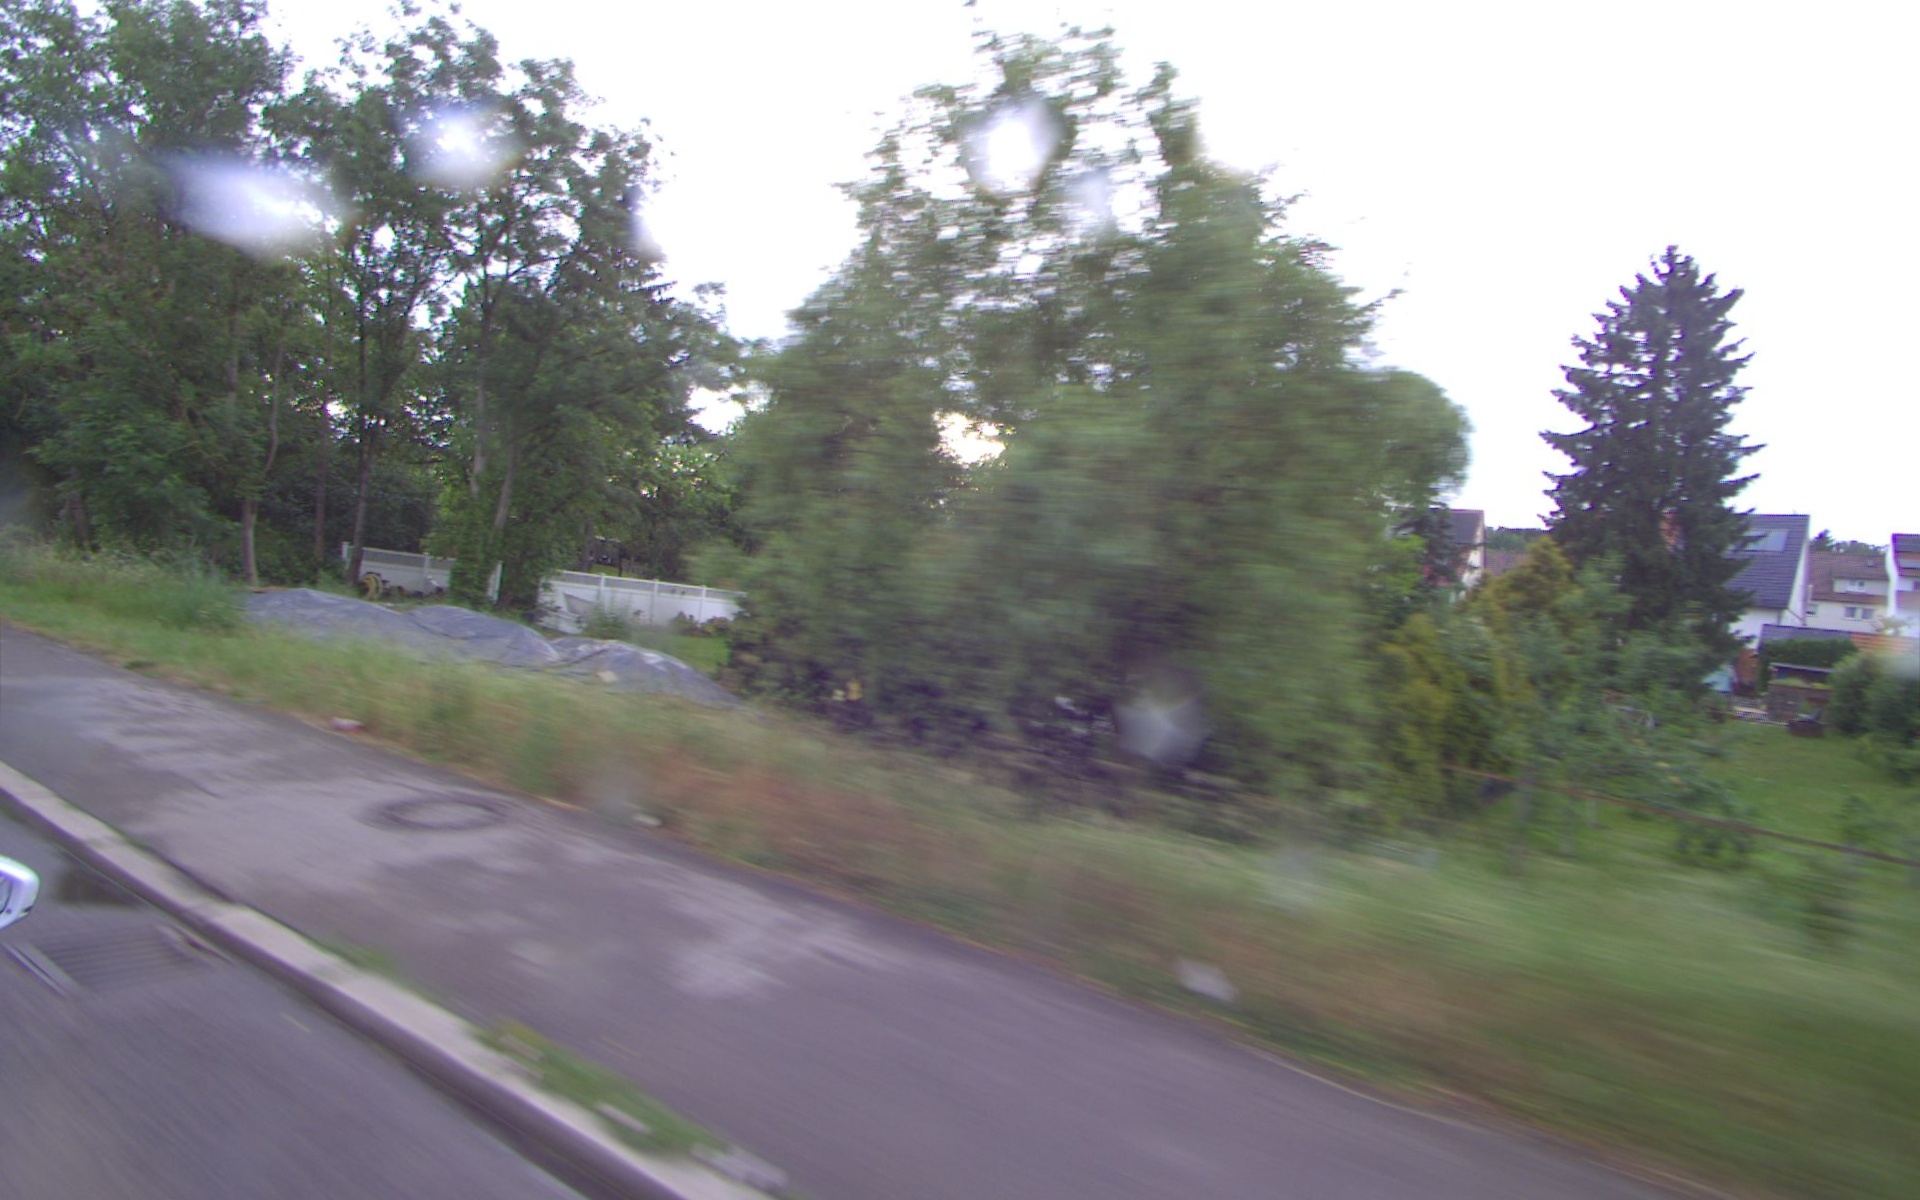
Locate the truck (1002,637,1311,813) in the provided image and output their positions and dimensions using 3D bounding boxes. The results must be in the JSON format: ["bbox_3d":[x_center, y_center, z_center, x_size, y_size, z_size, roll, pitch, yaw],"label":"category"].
[{"bbox_3d":[3.848,2.249,18.122,2.038,2.386,7.039,7,-2,41],"label":"truck"}]
